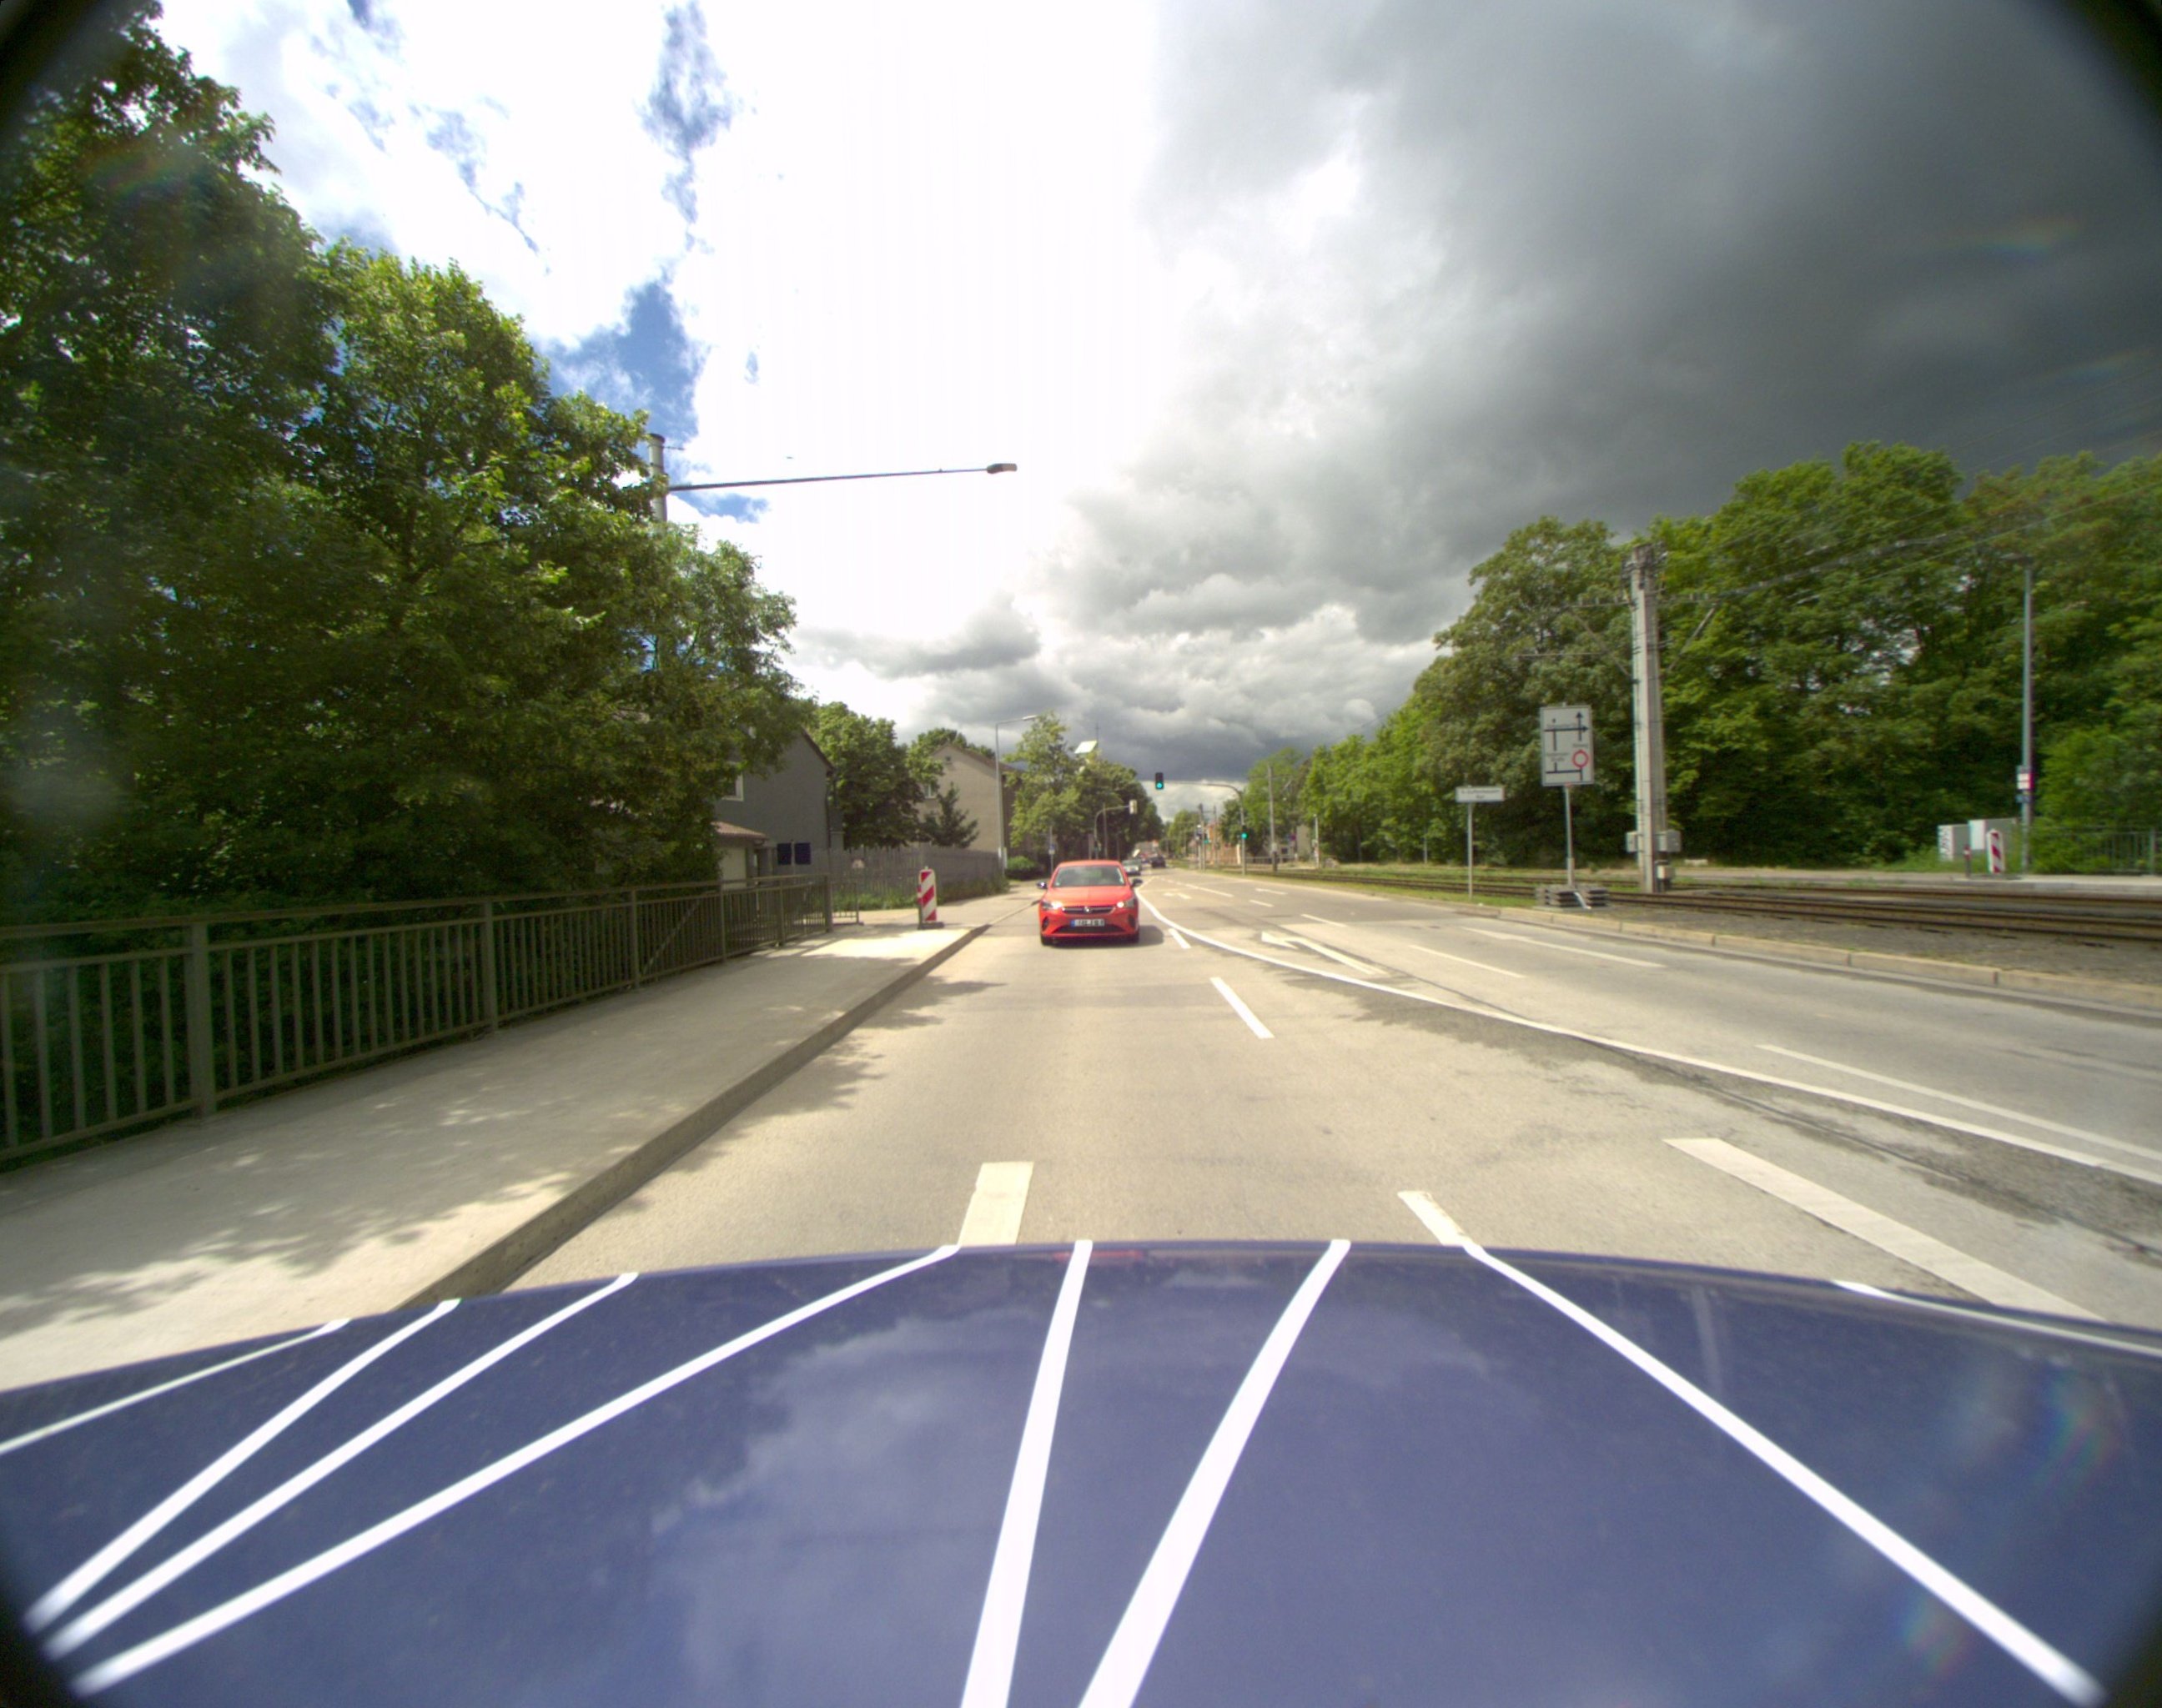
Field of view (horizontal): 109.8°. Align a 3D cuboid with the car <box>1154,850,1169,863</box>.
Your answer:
[{"bbox_3d":[11.151,0.310,105.030,1.711,1.666,4.229,-4,0,3],"label":"car"}]

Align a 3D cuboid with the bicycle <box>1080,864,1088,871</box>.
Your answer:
[{"bbox_3d":[0.463,2.092,119.377,0.437,1.074,1.750,-4,0,-30],"label":"bicycle"}]

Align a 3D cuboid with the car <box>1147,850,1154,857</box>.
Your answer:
[{"bbox_3d":[16.861,-0.151,184.509,1.584,1.476,3.808,-4,-1,7],"label":"car"}]

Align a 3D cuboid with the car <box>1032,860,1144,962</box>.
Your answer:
[{"bbox_3d":[0.258,0.855,13.227,1.665,1.512,3.787,0,0,5],"label":"car"}]

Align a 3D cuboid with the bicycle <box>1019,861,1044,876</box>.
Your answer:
[{"bbox_3d":[-4.548,1.320,69.882,2.170,1.275,0.681,-2,1,13],"label":"bicycle"}]

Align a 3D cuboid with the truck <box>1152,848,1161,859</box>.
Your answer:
[{"bbox_3d":[20.021,-0.207,201.357,2.096,2.723,5.098,-4,0,2],"label":"truck"}]
